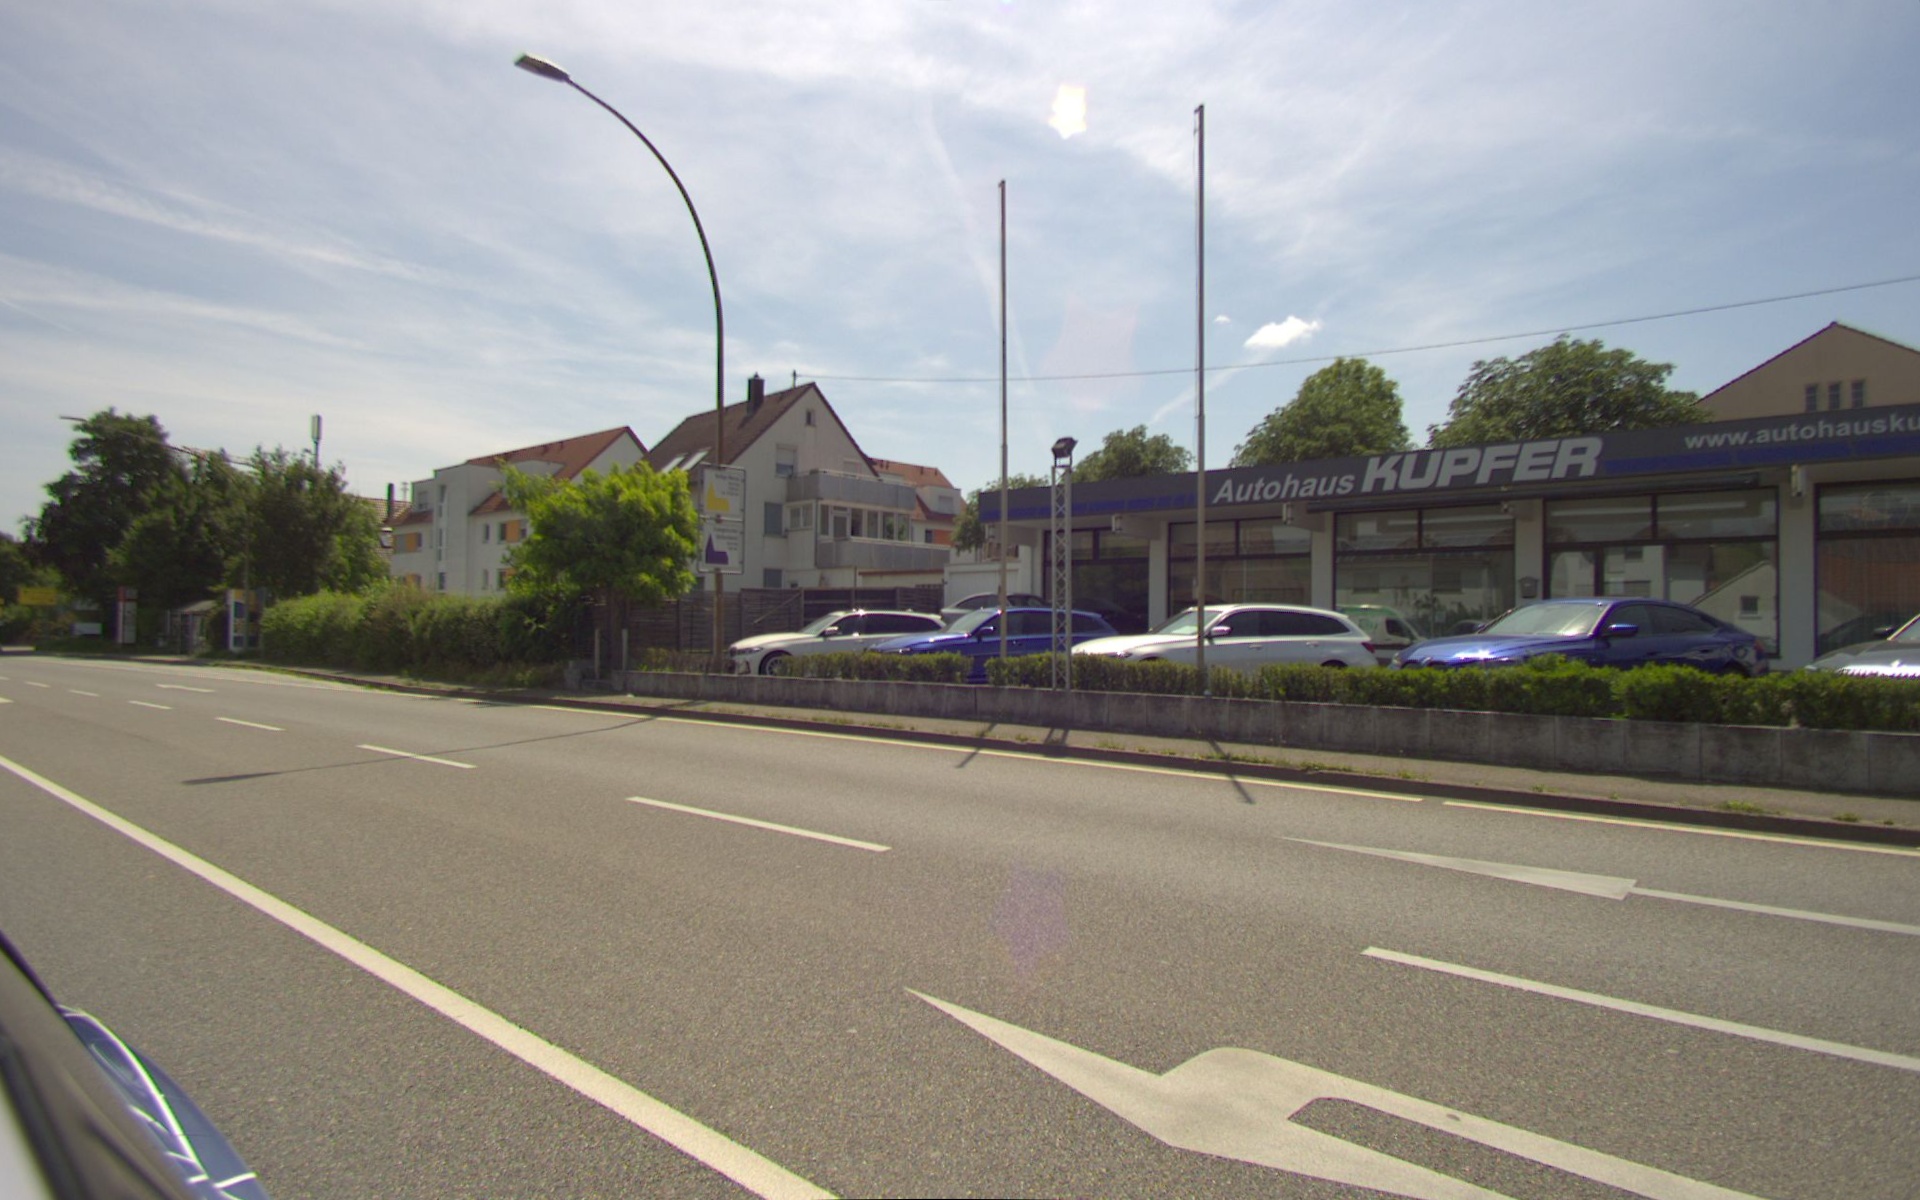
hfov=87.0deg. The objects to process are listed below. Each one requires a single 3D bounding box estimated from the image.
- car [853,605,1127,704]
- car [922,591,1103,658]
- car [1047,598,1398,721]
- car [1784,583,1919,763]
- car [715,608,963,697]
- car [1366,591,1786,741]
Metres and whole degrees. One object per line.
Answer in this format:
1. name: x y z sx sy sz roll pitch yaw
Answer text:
1. car: 0.497 0.846 17.268 4.267 1.458 1.863 -1 0 -21
2. car: 1.192 0.585 24.917 1.781 1.475 4.589 -1 -1 -40
3. car: 3.661 0.761 14.271 4.438 1.458 1.863 -1 -1 -18
4. car: 9.709 0.566 9.077 4.267 1.458 1.905 -1 0 -25
5. car: -2.384 0.962 19.941 4.501 1.458 1.863 -2 1 -21
6. car: 7.077 0.648 11.671 4.267 1.458 1.863 -1 0 -20
